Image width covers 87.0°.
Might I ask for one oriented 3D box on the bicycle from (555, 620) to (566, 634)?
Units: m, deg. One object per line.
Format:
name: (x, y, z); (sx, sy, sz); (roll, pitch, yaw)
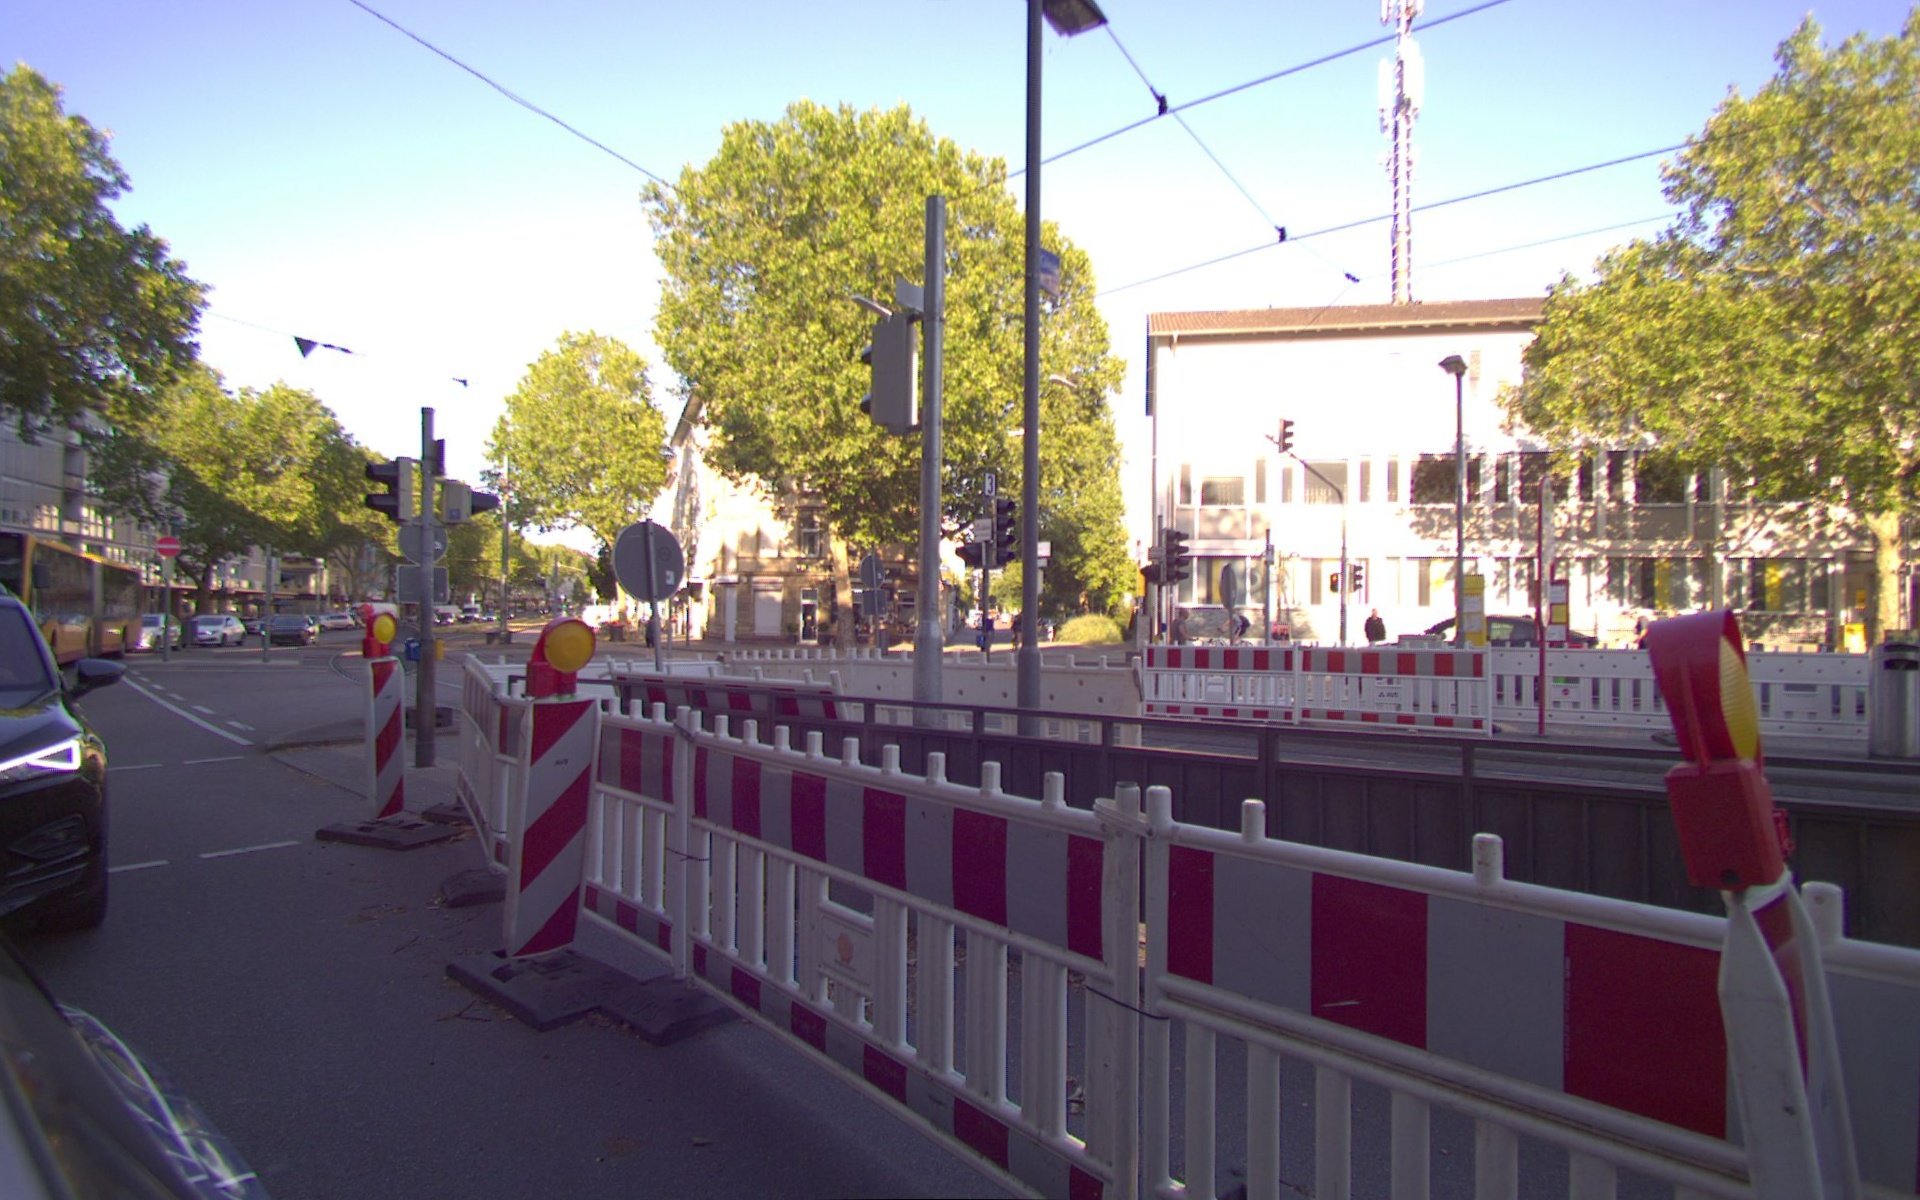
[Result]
bicycle: (-34.576, 2.293, 87.512); (0.837, 1.202, 2.474); (1, -1, -22)

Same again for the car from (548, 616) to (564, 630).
car: (-59.841, 3.374, 149.965); (1.965, 2.029, 4.013); (1, -1, -20)

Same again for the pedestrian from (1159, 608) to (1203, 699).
pedestrian: (4.412, 1.056, 20.192); (0.545, 1.760, 0.693); (1, -2, -24)

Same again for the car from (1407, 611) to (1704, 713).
car: (11.009, 1.063, 18.866); (4.552, 1.674, 1.974); (-1, -2, 38)

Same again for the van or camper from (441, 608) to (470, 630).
van or camper: (-64.616, 2.468, 129.809); (2.385, 2.739, 6.151); (1, -1, -18)

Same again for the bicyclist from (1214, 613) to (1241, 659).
bicyclist: (9.089, 1.209, 34.350); (0.839, 1.538, 0.572); (0, -2, 20)

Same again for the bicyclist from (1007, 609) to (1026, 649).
bicyclist: (2.456, 1.251, 44.267); (0.668, 1.741, 0.761); (0, -2, 17)

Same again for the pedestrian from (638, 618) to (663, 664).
pedestrian: (-10.649, 1.410, 34.844); (0.594, 1.545, 0.746); (1, -2, -38)

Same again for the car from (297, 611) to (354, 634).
car: (-56.011, 1.973, 89.350); (3.938, 2.029, 2.002); (1, -2, -42)

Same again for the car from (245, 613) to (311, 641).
car: (-50.455, 1.992, 74.993); (3.932, 2.029, 2.006); (1, -2, -31)

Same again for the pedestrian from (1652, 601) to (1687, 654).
pedestrian: (19.965, 0.773, 28.484); (0.579, 1.466, 0.584); (0, -2, 10)

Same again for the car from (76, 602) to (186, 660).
car: (-30.831, 1.145, 37.790); (1.965, 2.029, 4.111); (1, -1, -21)

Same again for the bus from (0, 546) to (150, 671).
bus: (-25.897, 0.293, 29.249); (2.676, 3.130, 8.622); (1, -2, -31)

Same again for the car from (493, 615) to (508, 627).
car: (-75.306, 3.443, 165.732); (1.809, 1.816, 4.143); (1, -2, -19)

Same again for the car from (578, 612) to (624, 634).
car: (-34.406, 2.209, 97.068); (1.990, 2.029, 3.963); (0, -2, 27)

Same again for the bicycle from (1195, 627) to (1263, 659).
bicycle: (9.127, 1.442, 34.351); (2.174, 1.039, 0.673); (0, -2, 21)

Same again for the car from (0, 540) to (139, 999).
car: (-5.439, 0.647, 4.734); (3.998, 1.719, 1.818); (-1, -2, 41)

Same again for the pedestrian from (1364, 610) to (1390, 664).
pedestrian: (12.149, 1.077, 29.467); (0.649, 1.564, 0.563); (-1, -2, 28)

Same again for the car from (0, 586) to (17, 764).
car: (-11.000, 0.698, 10.046); (4.073, 1.656, 1.973); (-1, -2, 41)

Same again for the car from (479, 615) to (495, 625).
car: (-69.578, 2.951, 148.903); (1.675, 1.481, 3.776); (1, -2, -19)

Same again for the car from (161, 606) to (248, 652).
car: (-34.887, 1.333, 46.857); (1.966, 2.029, 4.012); (1, -1, -17)

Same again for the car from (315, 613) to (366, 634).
car: (-60.249, 2.259, 98.489); (3.938, 2.029, 2.002); (1, -2, -42)

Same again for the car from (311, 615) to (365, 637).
car: (-58.043, 2.412, 94.453); (3.938, 2.029, 2.002); (1, -2, -42)

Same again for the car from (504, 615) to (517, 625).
car: (-83.052, 3.764, 186.985); (1.809, 1.816, 4.143); (1, -2, -19)

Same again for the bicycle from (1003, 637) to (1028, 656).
bicycle: (2.429, 2.009, 44.144); (0.676, 0.788, 1.979); (0, -1, 17)

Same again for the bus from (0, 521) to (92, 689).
bus: (-21.005, 0.150, 21.887); (2.678, 3.130, 8.641); (1, -2, -36)

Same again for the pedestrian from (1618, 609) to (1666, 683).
pedestrian: (17.472, 1.165, 25.927); (0.923, 1.847, 0.693); (-1, -2, 28)

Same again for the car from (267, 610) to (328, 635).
car: (-54.057, 1.853, 82.599); (3.938, 2.029, 2.002); (1, -2, -42)

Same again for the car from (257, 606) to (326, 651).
car: (-31.655, 1.359, 48.032); (1.965, 2.029, 4.013); (1, -1, -22)
